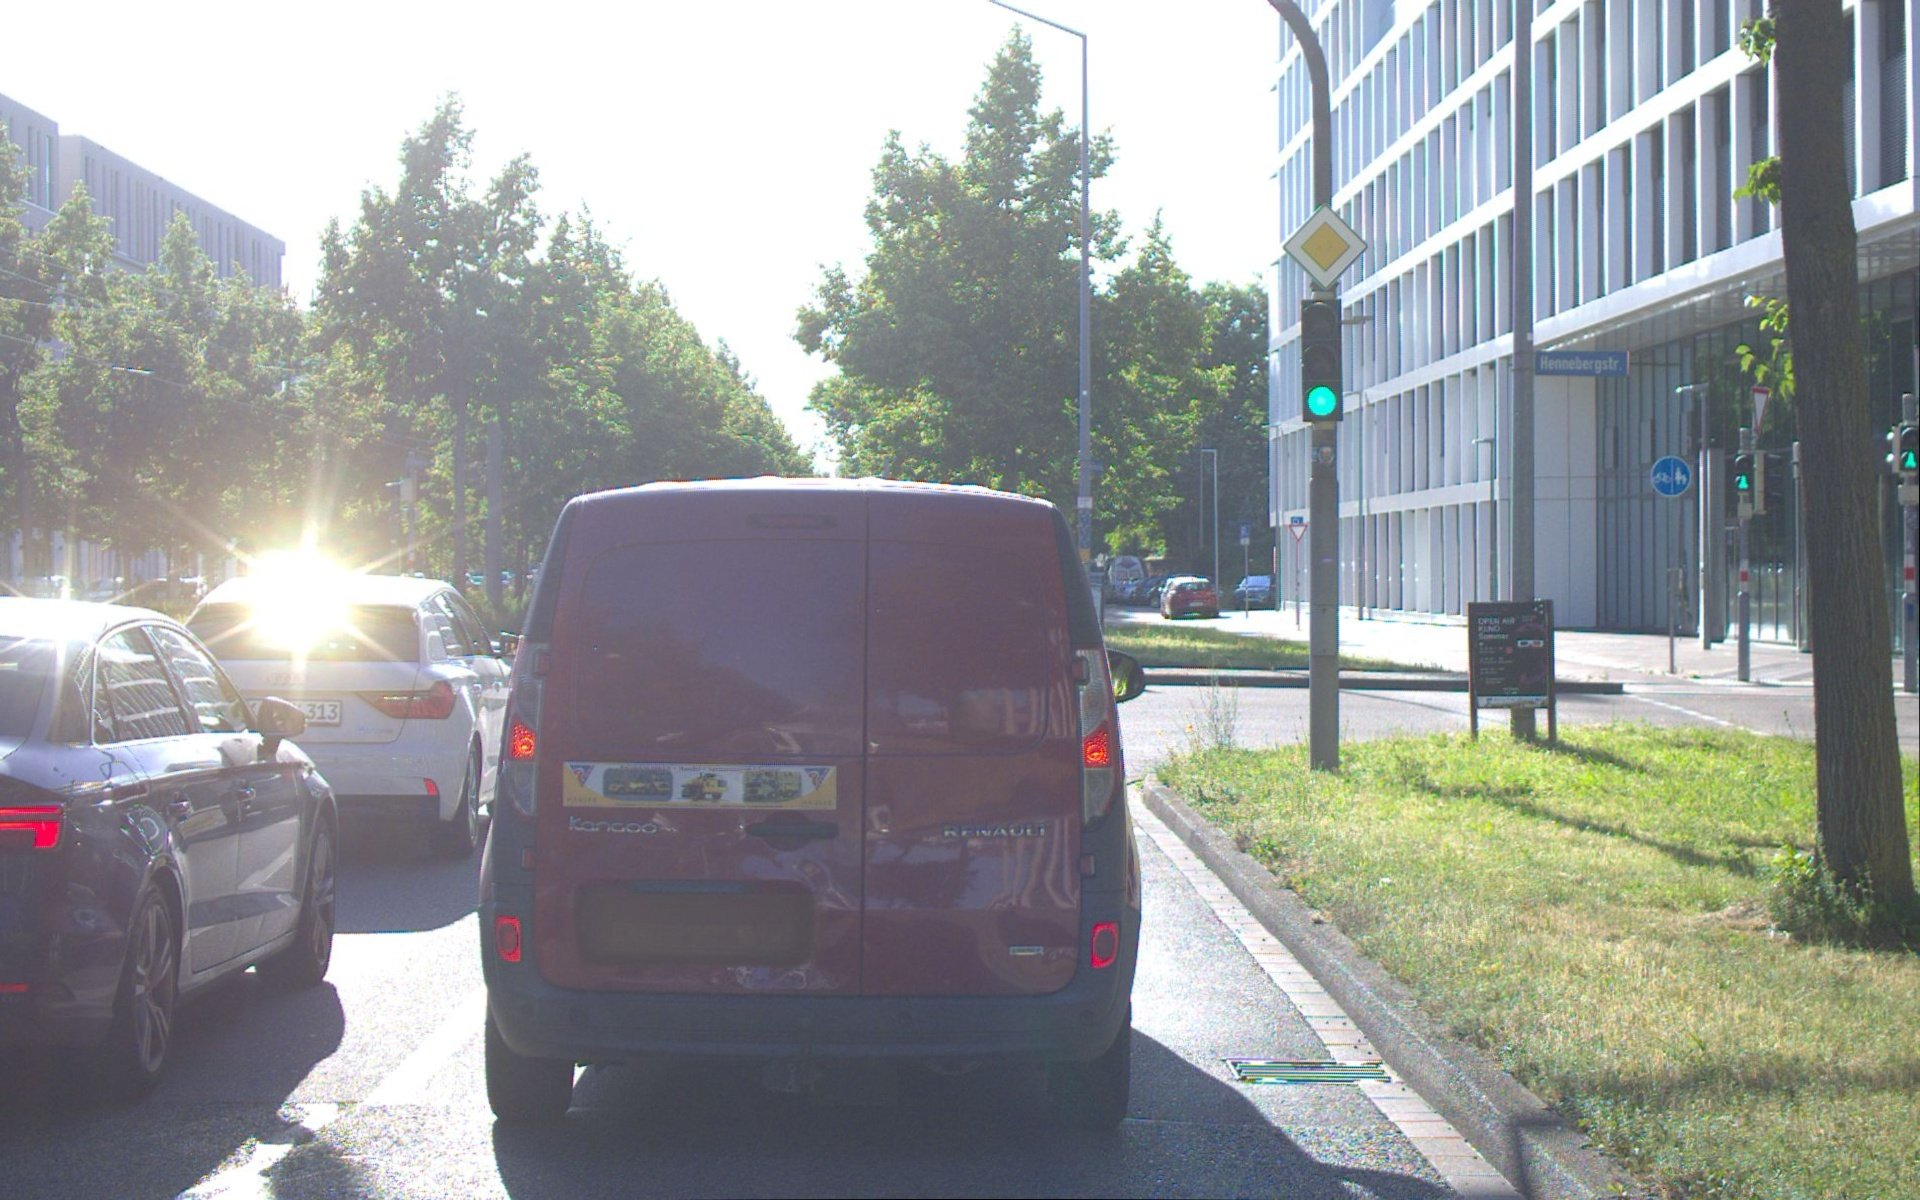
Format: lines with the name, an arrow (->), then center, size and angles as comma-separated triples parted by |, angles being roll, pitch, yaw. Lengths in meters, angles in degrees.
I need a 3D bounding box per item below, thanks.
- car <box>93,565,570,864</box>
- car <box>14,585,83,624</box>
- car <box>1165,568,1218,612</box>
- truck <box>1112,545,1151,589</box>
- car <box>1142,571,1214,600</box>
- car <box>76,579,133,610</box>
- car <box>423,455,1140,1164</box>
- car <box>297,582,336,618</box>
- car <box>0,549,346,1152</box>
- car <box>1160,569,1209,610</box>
car -> -3.248, 0.528, 18.551 | 1.808, 1.430, 4.113 | 0, 1, 0
car -> -36.057, 0.170, 136.026 | 1.776, 1.523, 3.806 | 0, 0, -1
car -> 8.550, -0.381, 127.113 | 1.758, 1.606, 3.903 | 0, 1, 1
truck -> 9.852, -1.888, 197.986 | 1.831, 2.492, 5.933 | 0, 0, -1
car -> 10.473, -0.698, 165.157 | 3.399, 1.354, 1.470 | 0, 0, 6
car -> -36.982, -0.244, 148.657 | 1.580, 1.338, 3.712 | 0, 0, -1
car -> -0.444, 0.503, 10.722 | 1.808, 1.788, 4.113 | 0, 1, 0
car -> -37.140, -0.015, 198.495 | 1.728, 2.007, 4.001 | 0, 1, -3
car -> -3.163, 0.607, 10.719 | 1.808, 1.522, 4.113 | 0, 1, -1
car -> 8.613, -0.416, 132.317 | 1.819, 1.527, 3.437 | 0, 0, 3
